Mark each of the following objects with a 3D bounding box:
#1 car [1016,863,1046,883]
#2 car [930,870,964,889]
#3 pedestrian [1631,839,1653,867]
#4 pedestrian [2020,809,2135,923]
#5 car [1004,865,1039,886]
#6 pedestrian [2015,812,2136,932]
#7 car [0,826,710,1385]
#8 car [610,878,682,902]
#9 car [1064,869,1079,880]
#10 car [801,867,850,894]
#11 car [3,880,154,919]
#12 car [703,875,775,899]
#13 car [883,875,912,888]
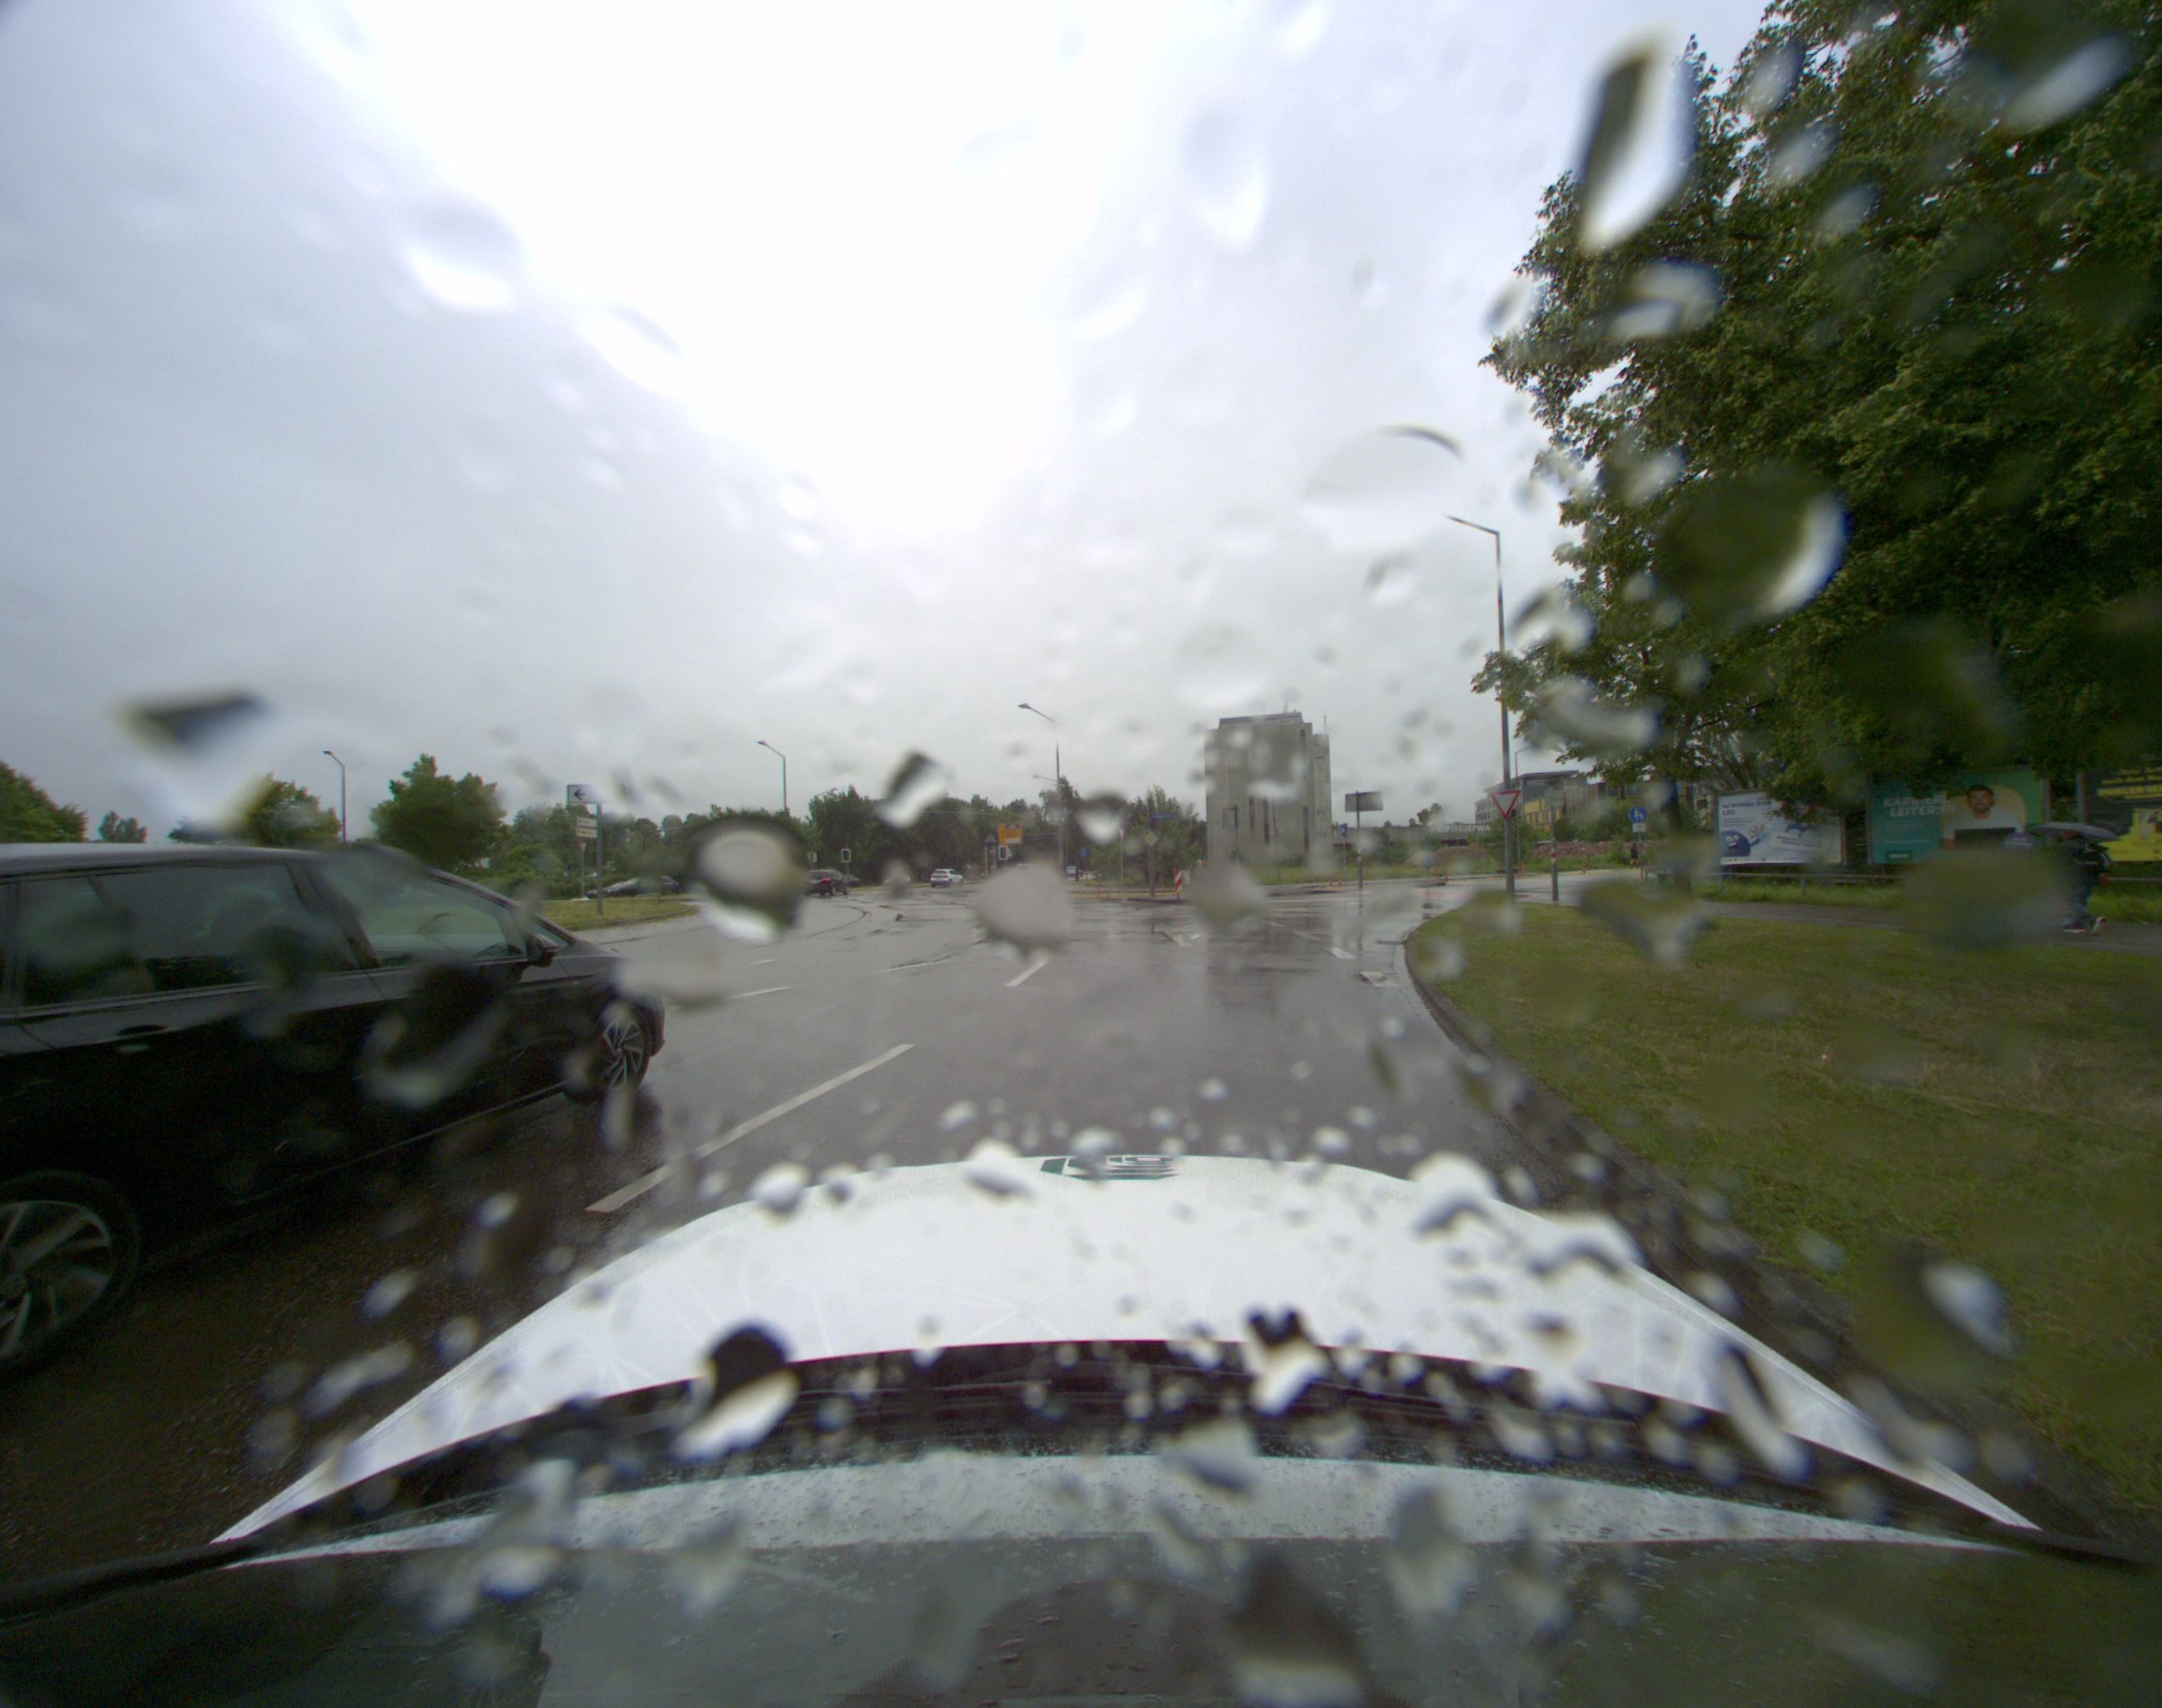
[{"bbox_3d":[-5.261,2.051,85.978,1.769,2.036,4.018,0,-2,18],"label":"car"},{"bbox_3d":[-11.895,2.317,72.664,1.670,1.648,3.958,0,-2,11],"label":"car"},{"bbox_3d":[41.146,-0.083,59.737,1.133,2.014,0.842,1,-2,-25],"label":"pedestrian"},{"bbox_3d":[16.220,0.200,13.289,0.912,1.784,0.813,-1,-3,30],"label":"pedestrian"},{"bbox_3d":[-5.365,1.926,74.027,1.771,1.811,4.855,-2,-1,13],"label":"car"},{"bbox_3d":[15.415,0.286,12.659,0.912,1.784,0.813,-1,-3,30],"label":"pedestrian"},{"bbox_3d":[-3.726,0.708,3.762,1.775,1.517,4.337,-1,0,4],"label":"car"},{"bbox_3d":[-30.471,2.523,57.096,4.168,1.648,1.768,2,-3,-40],"label":"car"},{"bbox_3d":[-1.237,2.850,113.036,1.680,1.492,3.256,-1,-1,6],"label":"car"},{"bbox_3d":[-16.057,1.692,51.425,1.777,1.648,3.998,0,-2,0],"label":"car"},{"bbox_3d":[-44.837,2.020,36.588,4.022,1.648,1.767,2,-3,-44],"label":"car"},{"bbox_3d":[-24.625,2.379,58.798,4.418,1.648,1.767,2,-3,-44],"label":"car"},{"bbox_3d":[-20.840,3.127,92.602,1.617,1.376,4.260,0,-2,9],"label":"car"}]
